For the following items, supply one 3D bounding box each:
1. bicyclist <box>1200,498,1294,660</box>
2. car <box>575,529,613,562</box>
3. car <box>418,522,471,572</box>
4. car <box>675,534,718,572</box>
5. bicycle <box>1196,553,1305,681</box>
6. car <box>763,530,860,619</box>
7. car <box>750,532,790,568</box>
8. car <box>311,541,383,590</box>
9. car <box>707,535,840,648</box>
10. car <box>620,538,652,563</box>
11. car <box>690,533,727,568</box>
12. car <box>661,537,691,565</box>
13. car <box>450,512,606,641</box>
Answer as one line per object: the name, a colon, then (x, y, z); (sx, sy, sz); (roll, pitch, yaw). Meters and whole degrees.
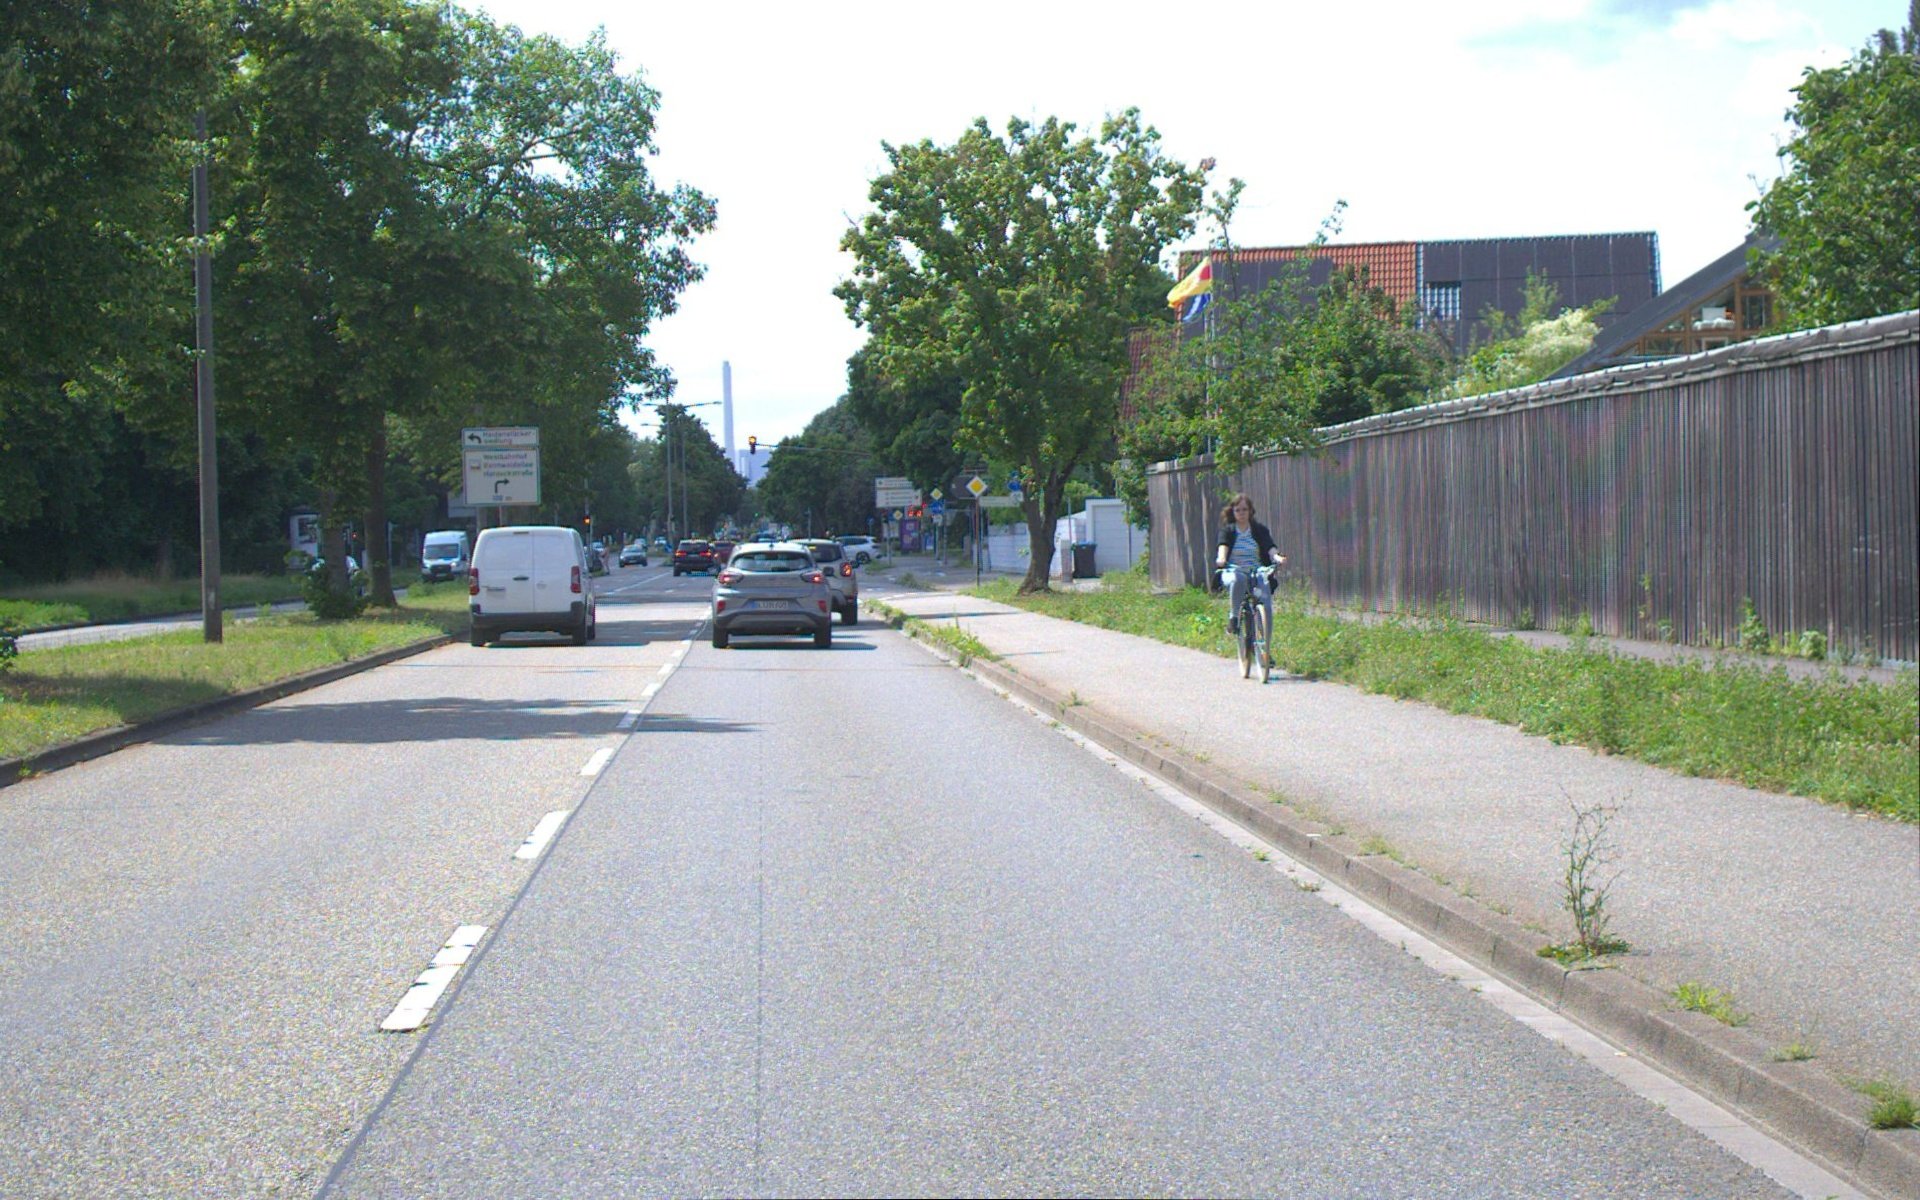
bicyclist: (2.609, -0.198, 31.313); (0.654, 1.407, 0.986); (-4, 1, -2)
car: (-19.797, -2.955, 186.120); (1.779, 1.761, 4.126); (-1, 1, -3)
car: (-25.749, -2.643, 171.852); (2.045, 2.423, 5.250); (-1, 1, -3)
car: (-12.948, -2.321, 169.021); (1.941, 1.761, 4.147); (-1, 1, -3)
bicycle: (2.632, 0.131, 31.307); (0.646, 1.064, 2.278); (-4, 1, -2)
car: (-2.874, -0.519, 66.426); (1.779, 1.637, 4.197); (-1, 1, -3)
car: (-9.461, -2.502, 171.329); (1.993, 1.766, 4.148); (0, 1, -3)
car: (-22.226, -1.255, 124.740); (1.993, 1.700, 4.194); (-1, 1, -3)
car: (-2.794, -0.159, 51.691); (1.875, 1.583, 4.185); (-1, 1, -3)
car: (-21.858, -3.359, 231.939); (1.892, 1.583, 4.110); (-1, 1, -3)
car: (-13.063, -2.585, 178.942); (1.779, 1.761, 4.169); (-1, 1, -3)
car: (-18.322, -3.176, 222.084); (1.779, 1.761, 4.151); (-1, 1, -3)
car: (-6.768, -0.411, 54.261); (2.065, 1.905, 4.647); (-1, 1, -3)
